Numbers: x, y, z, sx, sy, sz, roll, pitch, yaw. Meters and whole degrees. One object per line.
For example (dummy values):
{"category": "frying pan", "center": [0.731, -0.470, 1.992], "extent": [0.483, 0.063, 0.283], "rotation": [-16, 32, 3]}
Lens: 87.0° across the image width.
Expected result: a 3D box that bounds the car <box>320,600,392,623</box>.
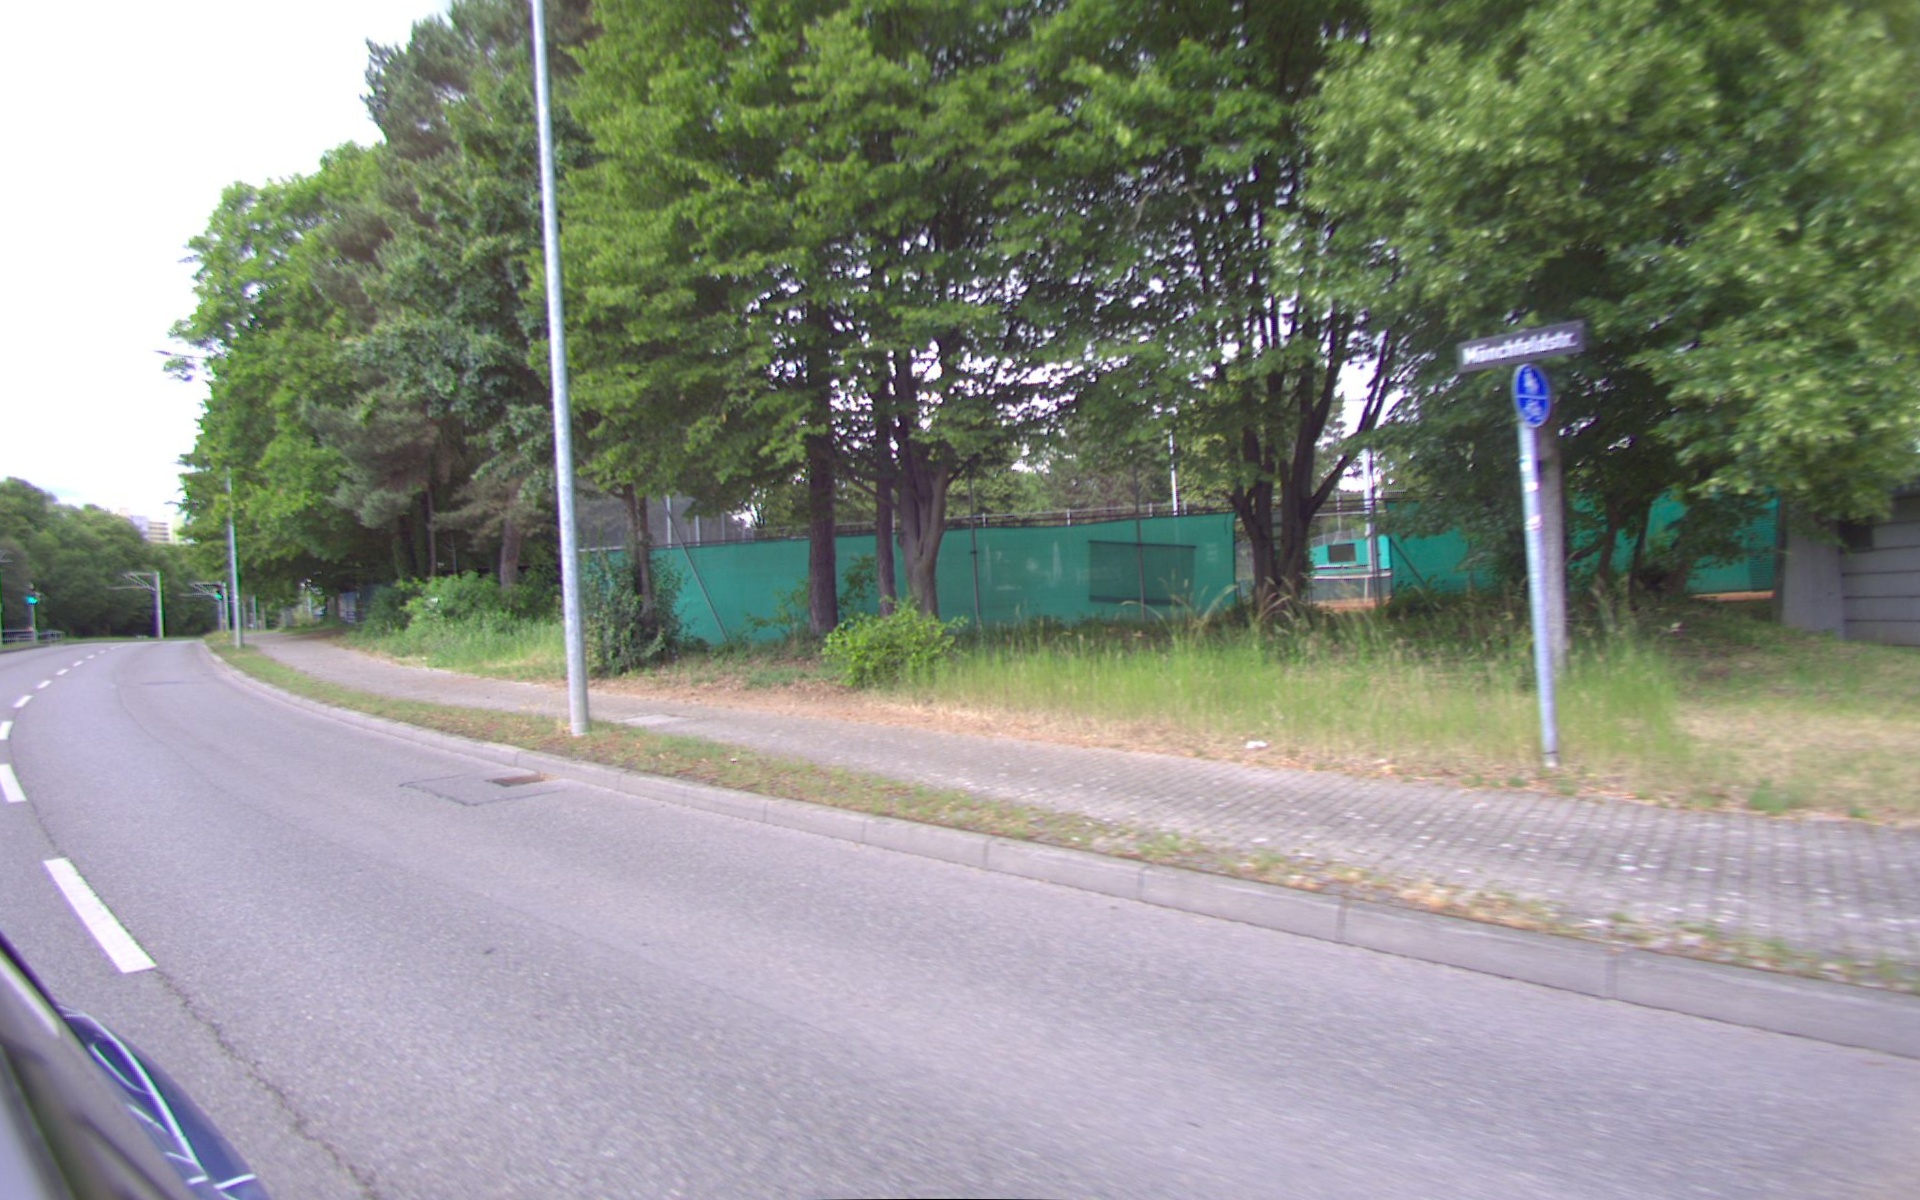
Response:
{"category": "car", "center": [-51.138, 0.937, 85.824], "extent": [5.085, 1.573, 1.891], "rotation": [-4, 0, -28]}
